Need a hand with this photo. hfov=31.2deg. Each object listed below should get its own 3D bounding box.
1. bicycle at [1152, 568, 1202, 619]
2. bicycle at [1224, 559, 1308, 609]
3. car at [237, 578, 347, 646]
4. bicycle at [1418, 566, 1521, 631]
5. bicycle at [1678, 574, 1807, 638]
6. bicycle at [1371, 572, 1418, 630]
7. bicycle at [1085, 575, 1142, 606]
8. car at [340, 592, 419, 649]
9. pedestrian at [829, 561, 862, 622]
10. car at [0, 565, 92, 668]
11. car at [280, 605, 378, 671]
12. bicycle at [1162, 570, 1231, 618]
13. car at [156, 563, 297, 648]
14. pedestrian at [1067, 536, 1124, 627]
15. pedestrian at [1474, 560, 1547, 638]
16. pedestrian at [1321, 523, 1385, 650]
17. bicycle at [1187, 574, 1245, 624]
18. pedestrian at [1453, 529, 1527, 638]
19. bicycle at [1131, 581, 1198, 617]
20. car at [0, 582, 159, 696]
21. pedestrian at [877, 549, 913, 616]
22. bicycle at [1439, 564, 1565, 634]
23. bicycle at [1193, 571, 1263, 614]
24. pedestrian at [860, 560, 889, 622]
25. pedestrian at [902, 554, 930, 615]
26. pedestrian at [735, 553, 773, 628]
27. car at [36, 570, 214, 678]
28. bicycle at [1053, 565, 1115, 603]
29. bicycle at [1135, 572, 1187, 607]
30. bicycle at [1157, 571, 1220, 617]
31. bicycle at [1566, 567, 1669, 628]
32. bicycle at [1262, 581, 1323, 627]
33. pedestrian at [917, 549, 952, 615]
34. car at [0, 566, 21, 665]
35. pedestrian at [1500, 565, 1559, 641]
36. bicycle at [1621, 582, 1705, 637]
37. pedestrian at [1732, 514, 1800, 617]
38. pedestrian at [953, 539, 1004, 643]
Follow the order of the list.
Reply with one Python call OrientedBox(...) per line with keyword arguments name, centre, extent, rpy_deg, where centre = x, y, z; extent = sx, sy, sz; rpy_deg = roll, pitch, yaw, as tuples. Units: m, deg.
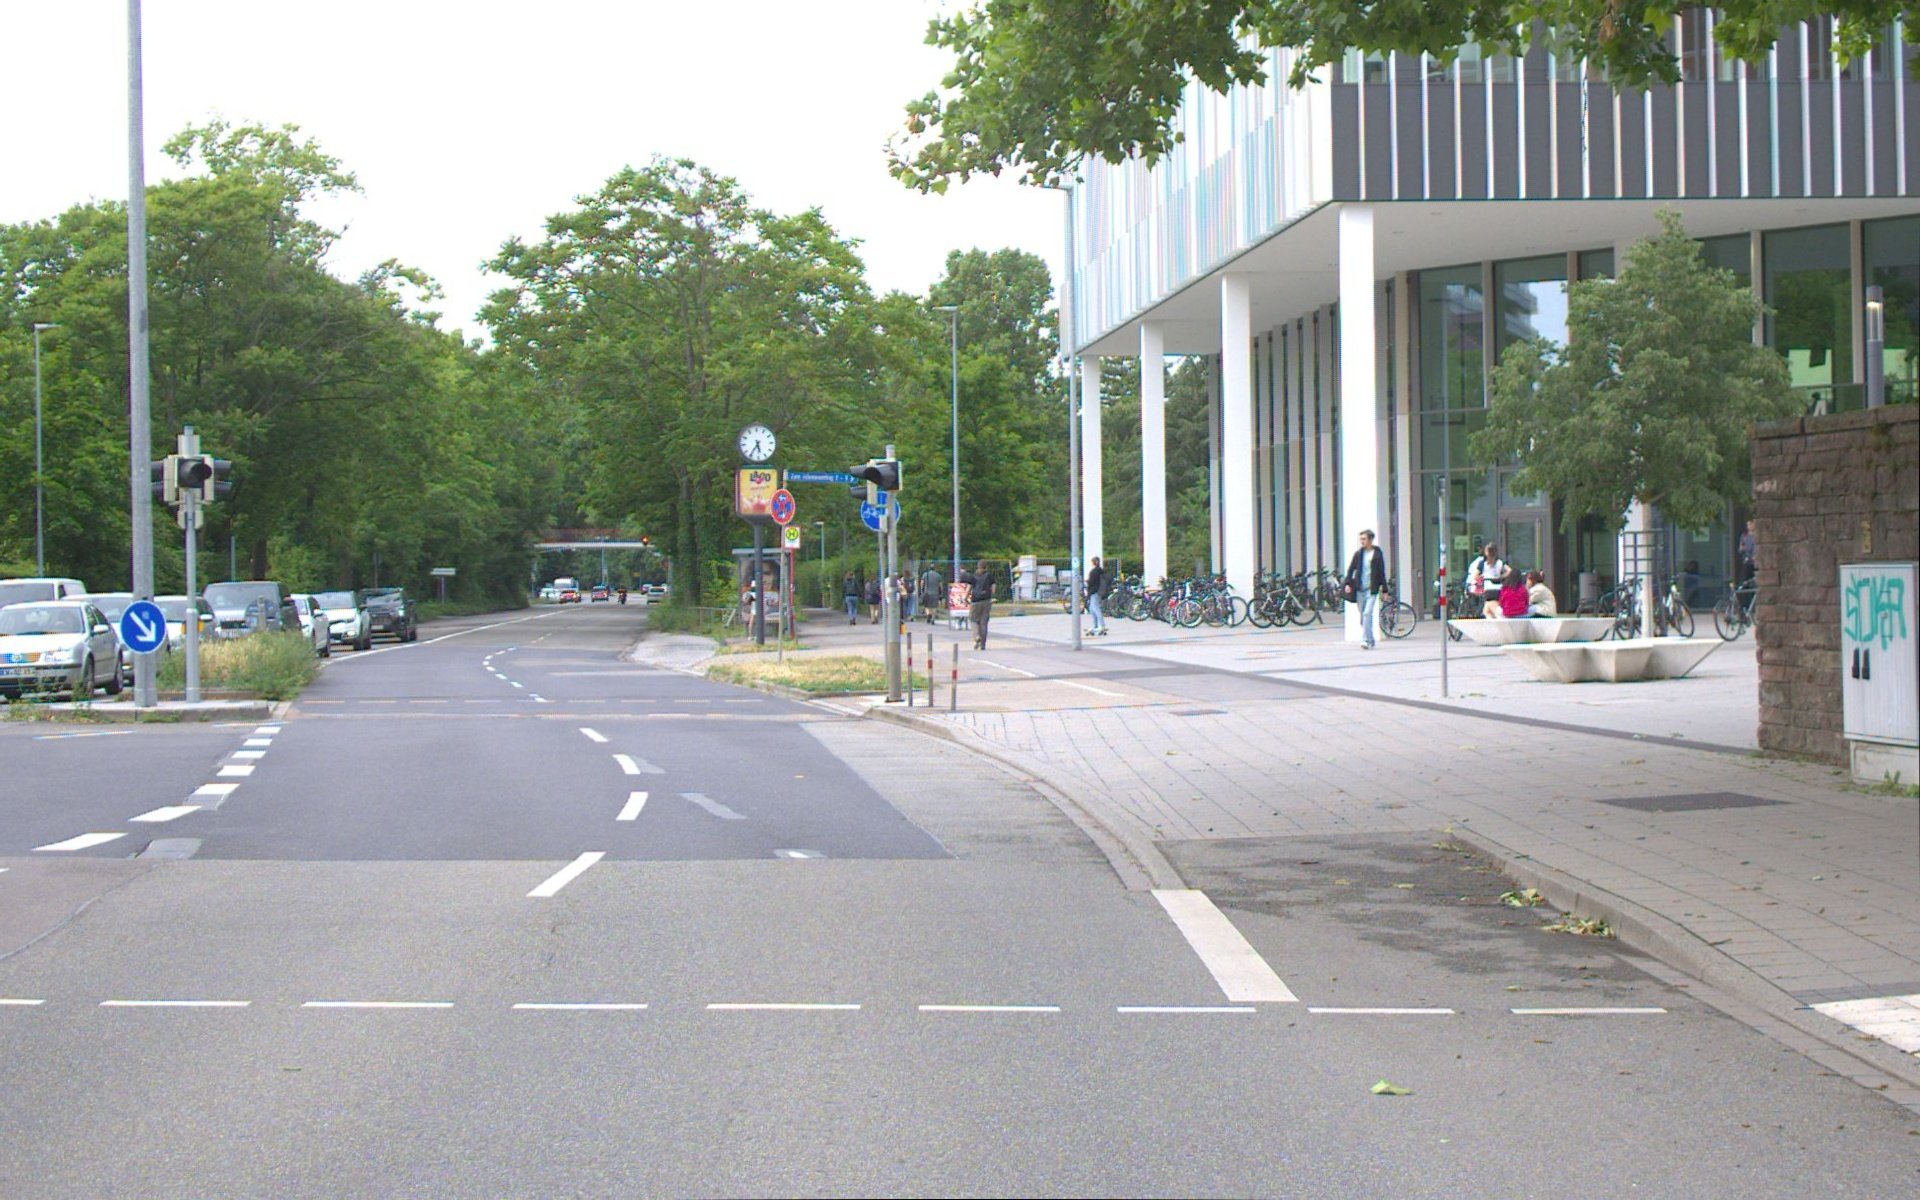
OrientedBox(name="bicycle", centre=(5.001, -0.150, 79.457), extent=(0.635, 1.136, 2.201), rpy_deg=(-4, 1, -9))
OrientedBox(name="bicycle", centre=(7.600, -0.404, 85.476), extent=(1.985, 1.140, 0.647), rpy_deg=(-2, 1, 37))
OrientedBox(name="car", centre=(-15.221, 0.250, 78.571), extent=(1.903, 1.460, 4.911), rpy_deg=(1, 0, -4))
OrientedBox(name="bicycle", centre=(9.271, -0.035, 62.500), extent=(0.736, 1.112, 2.178), rpy_deg=(-1, 1, 43))
OrientedBox(name="bicycle", centre=(12.933, 0.098, 56.832), extent=(2.185, 1.002, 0.782), rpy_deg=(-1, 1, -34))
OrientedBox(name="bicycle", centre=(8.146, 0.013, 64.575), extent=(0.638, 1.058, 1.840), rpy_deg=(1, 0, 0))
OrientedBox(name="bicycle", centre=(4.563, -0.279, 102.081), extent=(1.606, 0.872, 0.556), rpy_deg=(-2, 0, -4))
OrientedBox(name="car", centre=(-17.398, 0.597, 103.192), extent=(1.902, 1.588, 4.517), rpy_deg=(-1, 0, -4))
OrientedBox(name="pedestrian", centre=(-3.785, -0.276, 113.873), extent=(0.925, 2.007, 1.040), rpy_deg=(-1, 0, -9))
OrientedBox(name="car", centre=(-17.554, 0.272, 64.086), extent=(1.771, 1.841, 4.489), rpy_deg=(1, 0, -3))
OrientedBox(name="car", centre=(-16.253, 0.957, 88.756), extent=(1.993, 1.541, 4.180), rpy_deg=(-3, 1, -4))
OrientedBox(name="bicycle", centre=(5.873, -0.149, 85.274), extent=(1.644, 1.087, 0.572), rpy_deg=(-4, 0, 4))
OrientedBox(name="car", centre=(-15.164, 0.090, 71.313), extent=(1.993, 1.681, 4.948), rpy_deg=(0, 1, -2))
OrientedBox(name="pedestrian", centre=(2.997, -0.409, 76.029), extent=(0.893, 2.007, 0.843), rpy_deg=(-1, 0, 41))
OrientedBox(name="pedestrian", centre=(8.668, -0.013, 54.128), extent=(0.844, 1.202, 0.893), rpy_deg=(-1, 0, 30))
OrientedBox(name="pedestrian", centre=(6.285, -0.219, 55.023), extent=(0.842, 2.007, 0.894), rpy_deg=(-1, 0, -3))
OrientedBox(name="bicycle", centre=(5.706, -0.018, 76.746), extent=(0.607, 1.076, 1.963), rpy_deg=(-3, 1, -16))
OrientedBox(name="pedestrian", centre=(9.011, -0.280, 58.458), extent=(0.842, 1.829, 0.894), rpy_deg=(-1, 0, -34))
OrientedBox(name="bicycle", centre=(5.186, -0.037, 87.134), extent=(1.606, 0.872, 0.556), rpy_deg=(-1, 0, -4))
OrientedBox(name="car", centre=(-13.122, 0.536, 49.518), extent=(1.993, 1.524, 4.274), rpy_deg=(-1, 1, 2))
OrientedBox(name="pedestrian", centre=(-2.004, -0.533, 105.210), extent=(0.925, 2.007, 1.040), rpy_deg=(-1, 0, -9))
OrientedBox(name="bicycle", centre=(9.646, -0.026, 61.121), extent=(0.774, 1.184, 2.713), rpy_deg=(-1, 1, 44))
OrientedBox(name="bicycle", centre=(6.418, -0.185, 82.237), extent=(1.606, 0.932, 0.568), rpy_deg=(-3, 1, 6))
OrientedBox(name="pedestrian", centre=(-2.828, -0.303, 113.875), extent=(0.823, 2.007, 0.720), rpy_deg=(-1, 0, -9))
OrientedBox(name="pedestrian", centre=(-1.459, -0.514, 114.539), extent=(0.824, 2.007, 0.720), rpy_deg=(-2, 0, -5))
OrientedBox(name="pedestrian", centre=(-5.680, -0.268, 94.752), extent=(0.912, 2.006, 0.854), rpy_deg=(-3, 3, -5))
OrientedBox(name="car", centre=(-13.815, 0.361, 57.102), extent=(1.957, 1.578, 4.256), rpy_deg=(-3, 1, -2))
OrientedBox(name="bicycle", centre=(3.840, -0.508, 106.601), extent=(1.794, 1.078, 0.626), rpy_deg=(-3, 1, -6))
OrientedBox(name="bicycle", centre=(5.258, -0.281, 90.042), extent=(1.283, 0.872, 0.556), rpy_deg=(-2, 0, -4))
OrientedBox(name="bicycle", centre=(5.525, -0.150, 83.092), extent=(1.400, 1.040, 0.559), rpy_deg=(-3, 1, -4))
OrientedBox(name="bicycle", centre=(11.348, -0.048, 59.294), extent=(0.774, 0.998, 1.955), rpy_deg=(-1, 1, 44))
OrientedBox(name="bicycle", centre=(7.235, 0.086, 74.850), extent=(1.484, 0.926, 0.440), rpy_deg=(-3, 3, -43))
OrientedBox(name="pedestrian", centre=(-0.787, -0.550, 105.341), extent=(0.925, 2.007, 1.040), rpy_deg=(-1, 0, -6))
OrientedBox(name="car", centre=(-16.746, 0.286, 55.384), extent=(1.993, 1.614, 4.000), rpy_deg=(-1, 1, 2))
OrientedBox(name="pedestrian", centre=(9.071, 0.047, 54.755), extent=(0.892, 1.189, 0.845), rpy_deg=(-1, 0, 10))
OrientedBox(name="bicycle", centre=(12.021, 0.159, 58.754), extent=(0.671, 0.896, 1.842), rpy_deg=(-1, 1, 37))
OrientedBox(name="pedestrian", centre=(16.413, -0.703, 69.978), extent=(1.182, 2.055, 1.134), rpy_deg=(1, 0, 20))
OrientedBox(name="pedestrian", centre=(0.361, -0.179, 67.771), extent=(0.842, 2.007, 0.894), rpy_deg=(-3, 0, -3))
